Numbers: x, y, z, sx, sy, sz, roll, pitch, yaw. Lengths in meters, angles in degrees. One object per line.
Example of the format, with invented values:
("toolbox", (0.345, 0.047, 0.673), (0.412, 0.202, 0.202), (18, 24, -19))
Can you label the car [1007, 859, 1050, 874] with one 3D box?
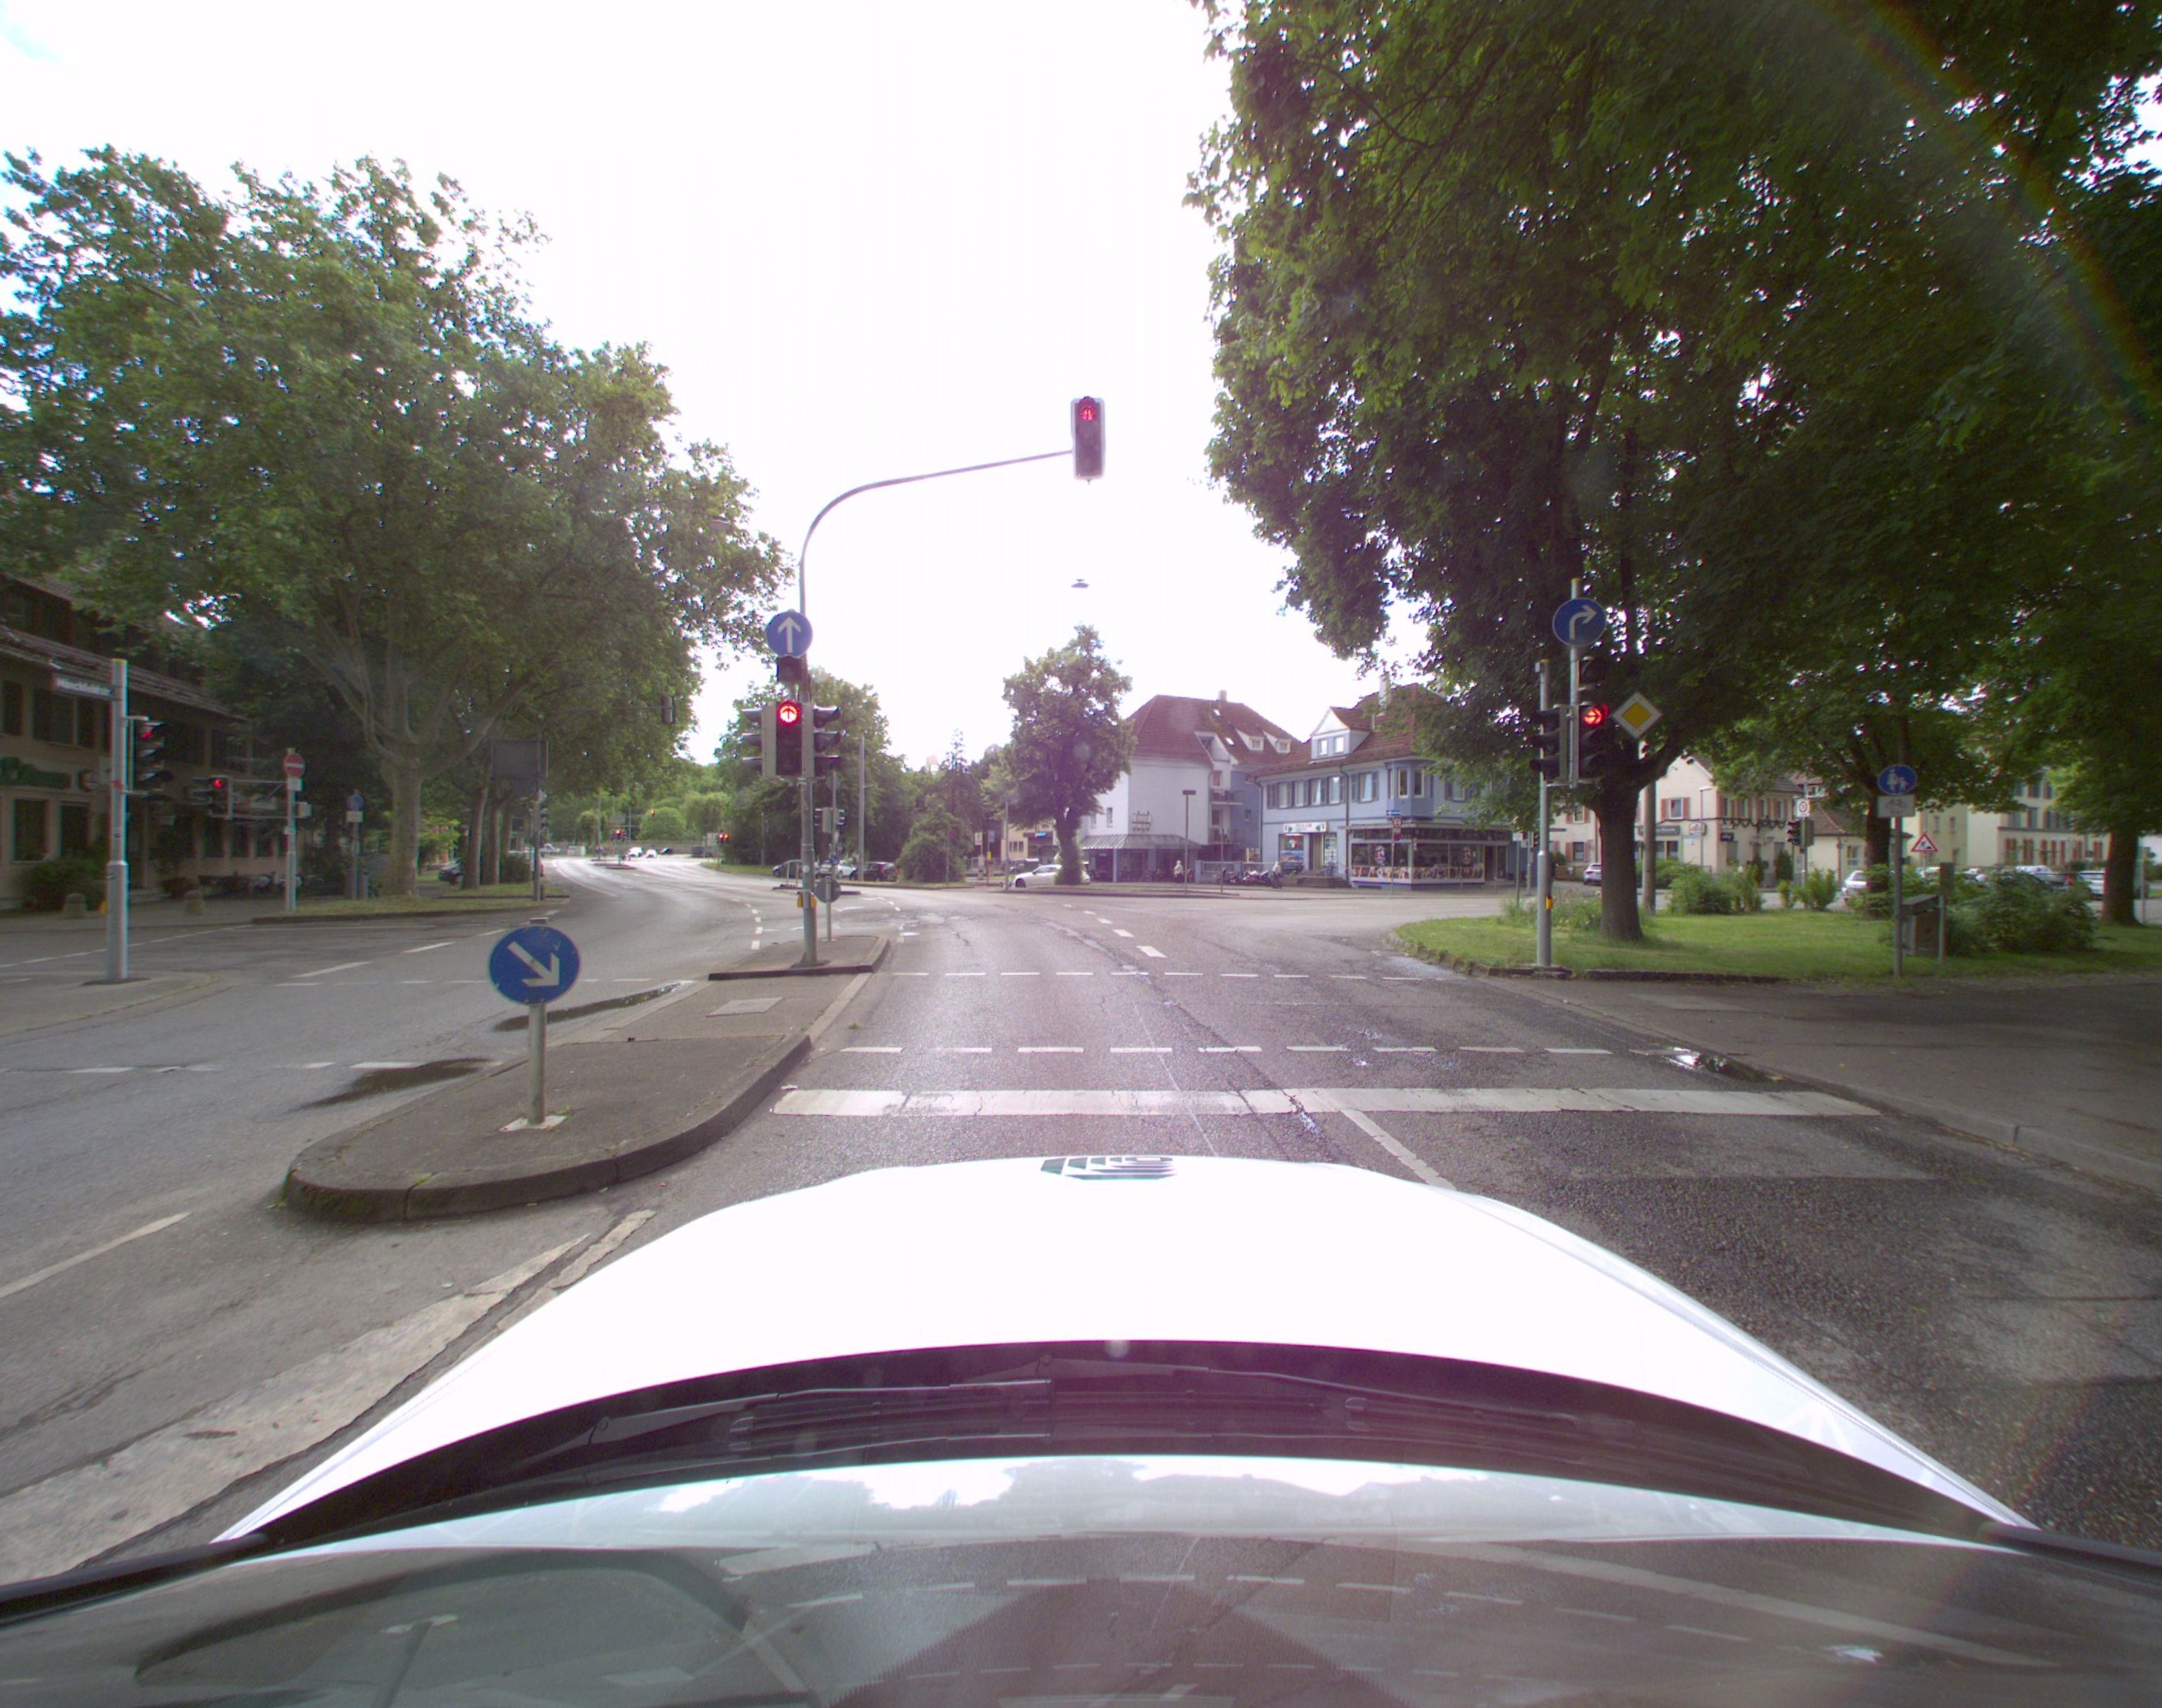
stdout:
("car", (-4.888, 1.139, 76.162), (3.752, 1.345, 1.422), (0, 0, -25))

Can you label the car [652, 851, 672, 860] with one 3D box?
("car", (-95.508, 0.446, 185.607), (4.011, 2.014, 1.981), (0, -1, -29))

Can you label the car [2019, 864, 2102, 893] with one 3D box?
("car", (46.998, 1.168, 39.067), (3.511, 1.321, 1.549), (0, 0, -22))

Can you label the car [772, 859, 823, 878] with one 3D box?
("car", (-22.444, 1.118, 64.491), (3.520, 1.464, 1.591), (0, 0, 14))

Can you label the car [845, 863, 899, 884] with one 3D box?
("car", (-13.913, 1.270, 54.212), (3.549, 1.394, 1.481), (0, -1, 34))

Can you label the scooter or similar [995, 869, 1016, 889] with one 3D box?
("scooter or similar", (-3.983, 1.293, 42.888), (0.413, 1.011, 1.575), (-1, -1, 22))

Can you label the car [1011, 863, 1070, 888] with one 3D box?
("car", (-2.314, 1.204, 46.245), (3.134, 1.354, 1.448), (0, -1, 36))

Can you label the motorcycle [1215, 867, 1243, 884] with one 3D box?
("motorcycle", (9.108, 1.316, 50.085), (0.699, 1.064, 1.617), (0, -1, -44))

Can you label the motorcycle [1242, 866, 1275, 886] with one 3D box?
("motorcycle", (10.529, 1.290, 48.270), (1.777, 1.121, 0.699), (0, -1, 40))

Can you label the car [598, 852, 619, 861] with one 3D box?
("car", (-106.209, 0.505, 183.070), (4.011, 2.014, 1.981), (0, -1, -29))

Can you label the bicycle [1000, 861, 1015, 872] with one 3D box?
("bicycle", (-7.418, 1.213, 81.935), (0.596, 1.112, 1.591), (-1, -1, 35))

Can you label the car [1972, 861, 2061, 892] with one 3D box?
("car", (42.211, 0.977, 36.760), (3.510, 1.321, 1.549), (0, 0, -21))

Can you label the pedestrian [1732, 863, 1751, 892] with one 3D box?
("pedestrian", (37.656, 1.345, 46.424), (0.610, 1.649, 0.606), (0, -1, -26))

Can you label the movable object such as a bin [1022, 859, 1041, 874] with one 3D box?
("movable object such as a bin", (-4.530, 1.137, 74.255), (1.447, 1.409, 0.959), (0, -1, -25))

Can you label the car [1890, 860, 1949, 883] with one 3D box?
("car", (55.110, 1.129, 53.538), (4.007, 1.420, 1.544), (0, 0, -26))

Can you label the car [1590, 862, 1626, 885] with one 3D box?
("car", (32.597, 1.186, 50.348), (1.481, 1.369, 3.198), (-1, -1, 40))

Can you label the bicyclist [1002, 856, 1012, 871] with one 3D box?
("bicyclist", (-7.443, 0.971, 81.910), (0.592, 1.541, 0.744), (-1, -1, 33))

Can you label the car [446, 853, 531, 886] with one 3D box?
("car", (-31.007, 0.787, 42.723), (3.461, 1.641, 1.557), (0, -1, -31))

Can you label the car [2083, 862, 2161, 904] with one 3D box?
("car", (52.826, 1.436, 41.134), (4.004, 2.014, 1.770), (0, -1, -23))

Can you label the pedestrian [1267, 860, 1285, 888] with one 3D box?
("pedestrian", (11.027, 1.118, 46.112), (0.759, 1.545, 0.682), (-1, -1, 41))

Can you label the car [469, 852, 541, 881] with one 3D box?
("car", (-35.490, 0.760, 50.289), (3.461, 1.742, 1.557), (0, -1, -31))

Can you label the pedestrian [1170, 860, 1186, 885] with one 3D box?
("pedestrian", (5.984, 1.126, 50.352), (0.699, 1.545, 0.682), (-1, -1, 42))

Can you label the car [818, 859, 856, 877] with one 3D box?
("car", (-20.086, 1.135, 67.193), (1.534, 1.464, 3.407), (0, 0, 13))

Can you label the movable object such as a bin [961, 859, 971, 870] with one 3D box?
("movable object such as a bin", (-12.228, 1.125, 86.646), (0.953, 1.115, 0.381), (0, -1, -19))

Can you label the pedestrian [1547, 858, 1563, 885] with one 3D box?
("pedestrian", (26.962, 0.976, 46.345), (0.459, 1.517, 0.584), (0, -1, -19))

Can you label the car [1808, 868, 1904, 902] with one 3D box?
("car", (31.958, 1.253, 33.576), (3.511, 1.321, 1.549), (0, 0, -22))
